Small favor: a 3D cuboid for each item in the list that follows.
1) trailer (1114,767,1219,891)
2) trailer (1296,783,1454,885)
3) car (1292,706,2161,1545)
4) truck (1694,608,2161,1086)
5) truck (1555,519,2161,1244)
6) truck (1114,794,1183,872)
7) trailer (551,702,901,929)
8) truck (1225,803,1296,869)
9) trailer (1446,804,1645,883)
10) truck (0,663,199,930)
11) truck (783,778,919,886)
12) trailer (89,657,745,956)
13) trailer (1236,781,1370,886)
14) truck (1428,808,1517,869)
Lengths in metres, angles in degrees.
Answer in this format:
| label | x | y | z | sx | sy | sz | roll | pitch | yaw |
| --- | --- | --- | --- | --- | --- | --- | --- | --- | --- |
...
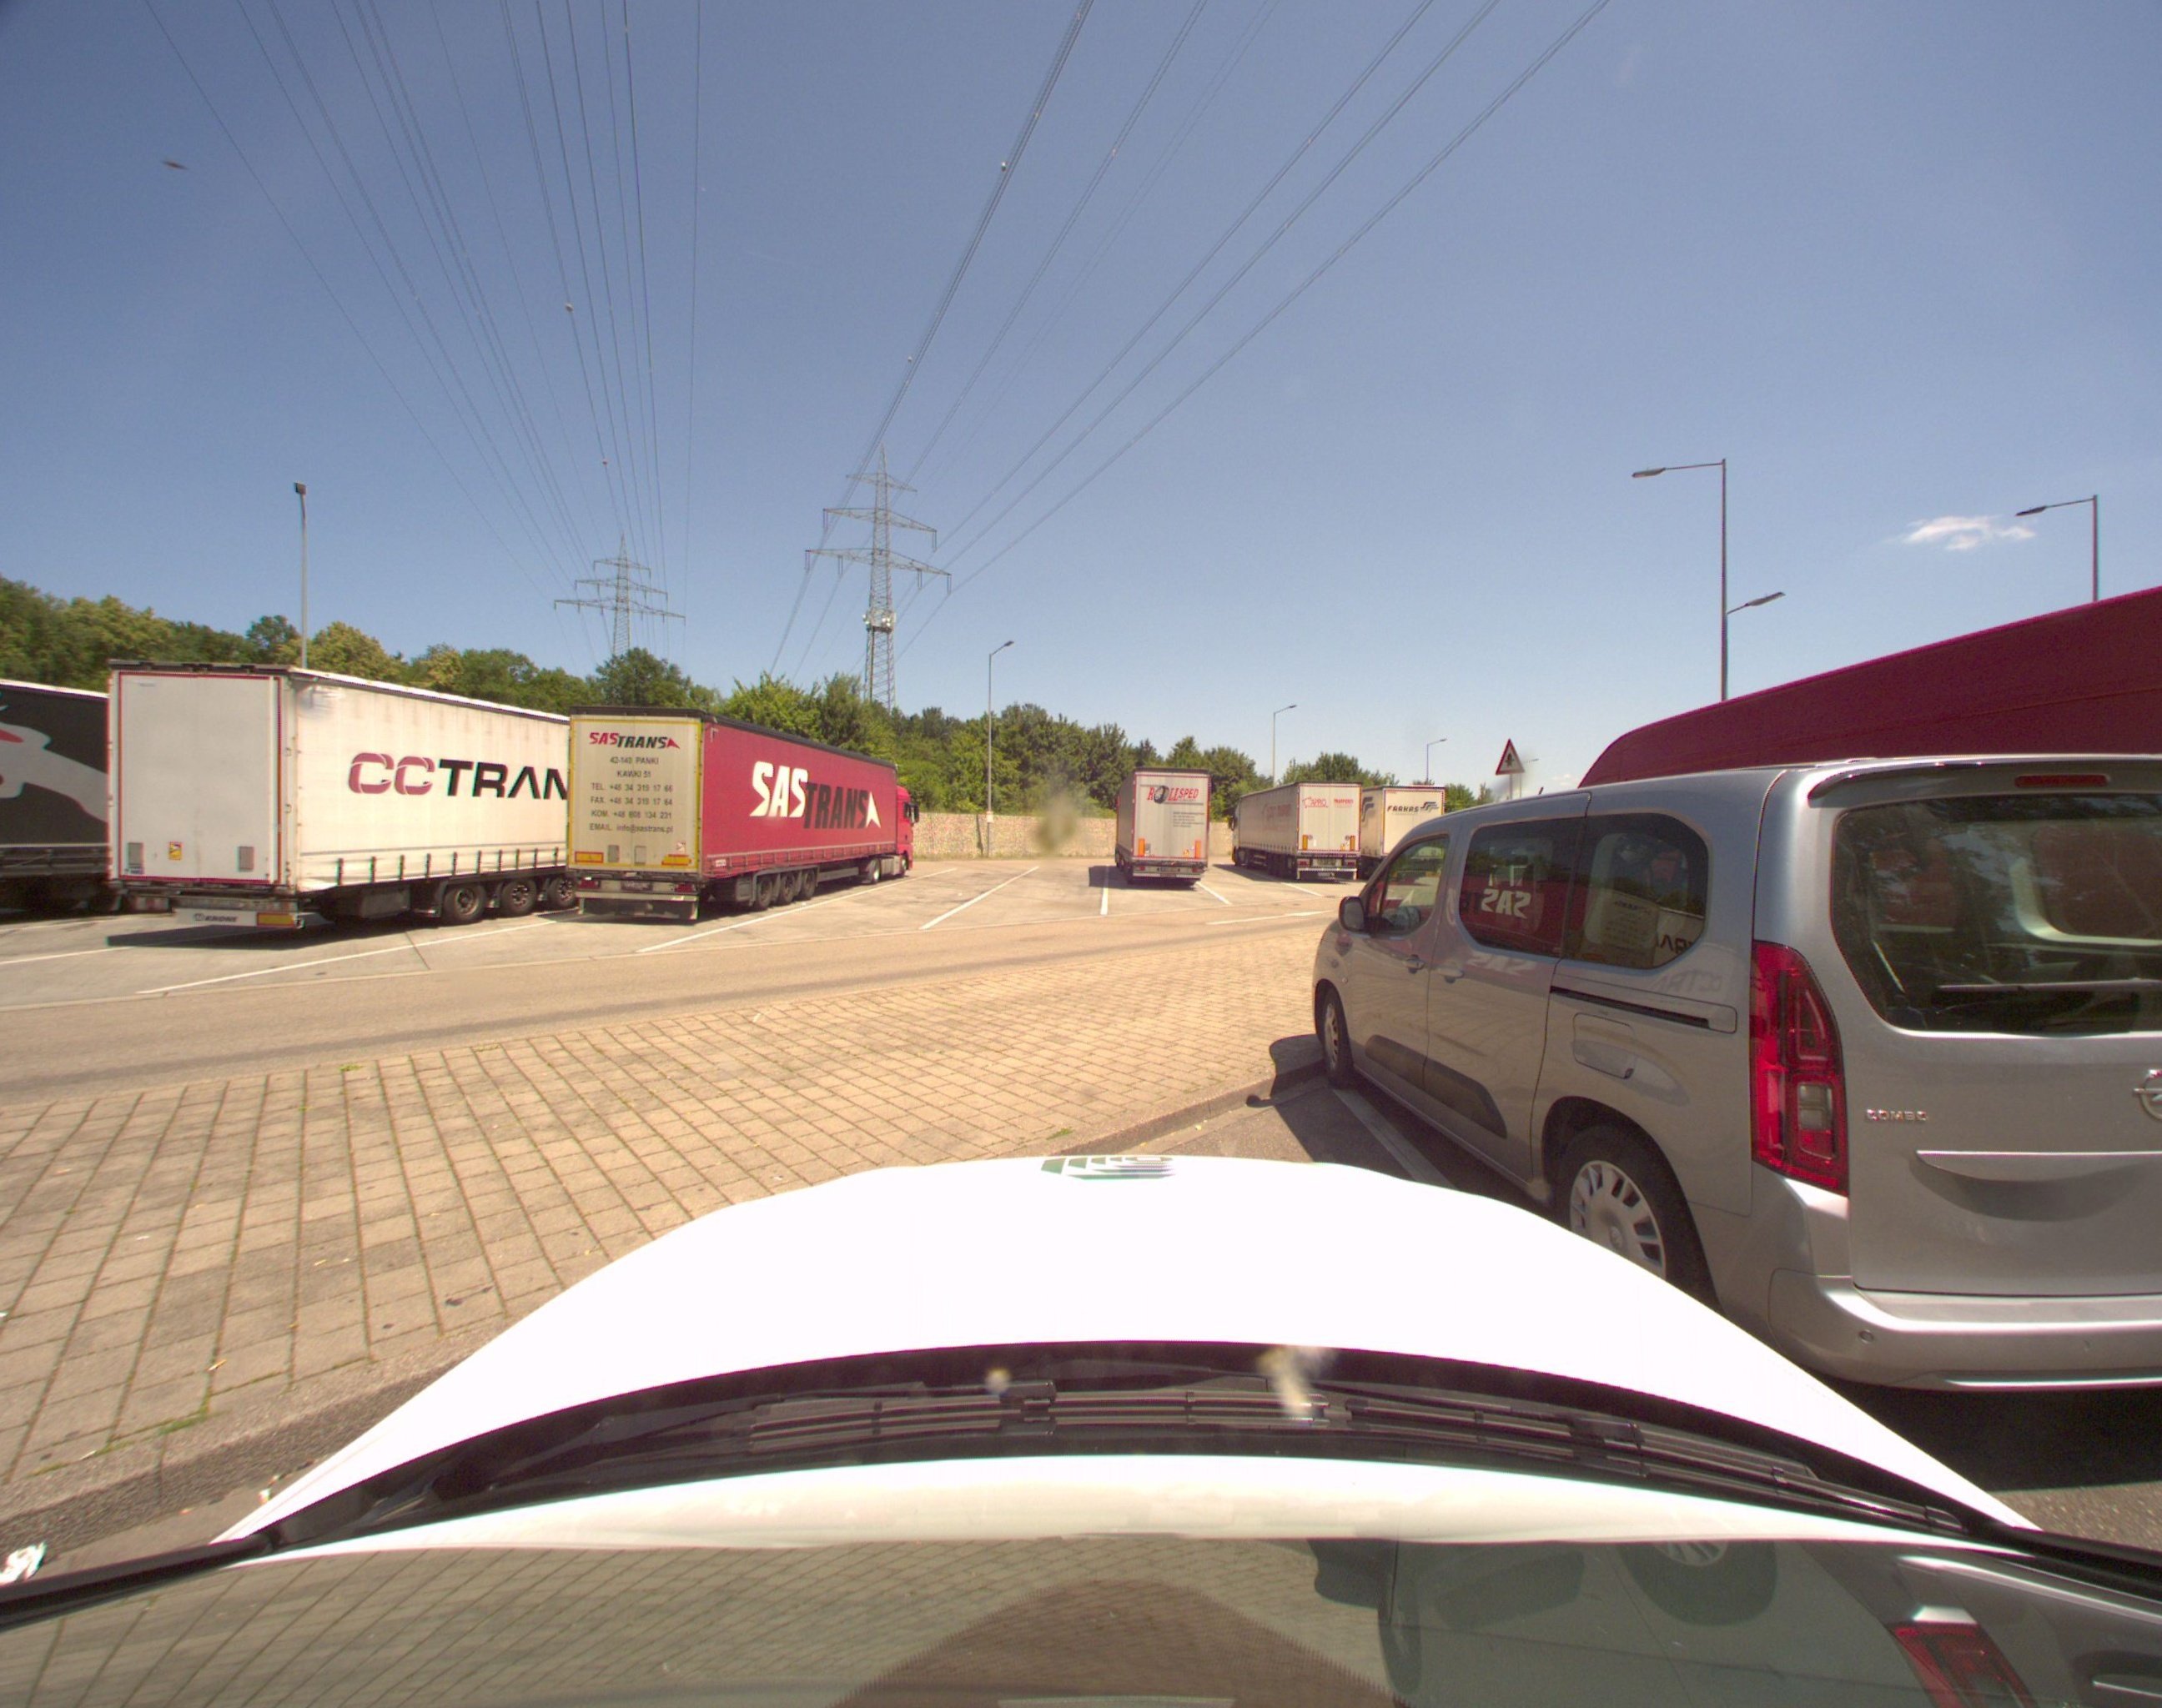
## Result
| label | x | y | z | sx | sy | sz | roll | pitch | yaw |
| --- | --- | --- | --- | --- | --- | --- | --- | --- | --- |
| trailer | 3.064 | -1.068 | 33.718 | 3.122 | 3.989 | 14.401 | 1 | 2 | 1 |
| trailer | 13.602 | -1.041 | 39.631 | 2.801 | 3.989 | 14.403 | 1 | 2 | 2 |
| car | 2.494 | 0.576 | 3.906 | 1.864 | 1.863 | 4.176 | 1 | 1 | 0 |
| truck | 7.996 | -0.036 | 6.479 | 2.444 | 2.912 | 5.663 | -1 | -1 | 7 |
| truck | 5.140 | 0.120 | 4.930 | 1.968 | 2.622 | 5.314 | 0 | -1 | 7 |
| truck | 3.228 | -1.085 | 40.612 | 3.092 | 3.566 | 5.903 | 1 | 2 | 2 |
| trailer | -8.062 | -0.948 | 21.926 | 2.781 | 4.084 | 14.139 | 1 | 2 | 2 |
| truck | 10.190 | -1.081 | 46.769 | 2.852 | 3.521 | 5.903 | 1 | 2 | 2 |
| trailer | 24.098 | -0.740 | 43.780 | 2.801 | 3.507 | 14.403 | 1 | 2 | 2 |
| truck | -18.537 | -0.968 | 13.803 | 2.726 | 4.239 | 3.997 | 1 | 2 | 2 |
| truck | -7.815 | -0.786 | 28.496 | 2.840 | 3.327 | 5.903 | 1 | 2 | 2 |
| trailer | -12.125 | -0.911 | 18.356 | 2.785 | 4.084 | 14.139 | 1 | 2 | 2 |
| trailer | 9.928 | -1.049 | 38.668 | 2.801 | 3.989 | 14.403 | 1 | 2 | 2 |
| truck | 24.353 | -1.013 | 51.011 | 2.792 | 3.521 | 5.903 | 1 | 2 | 2 |
